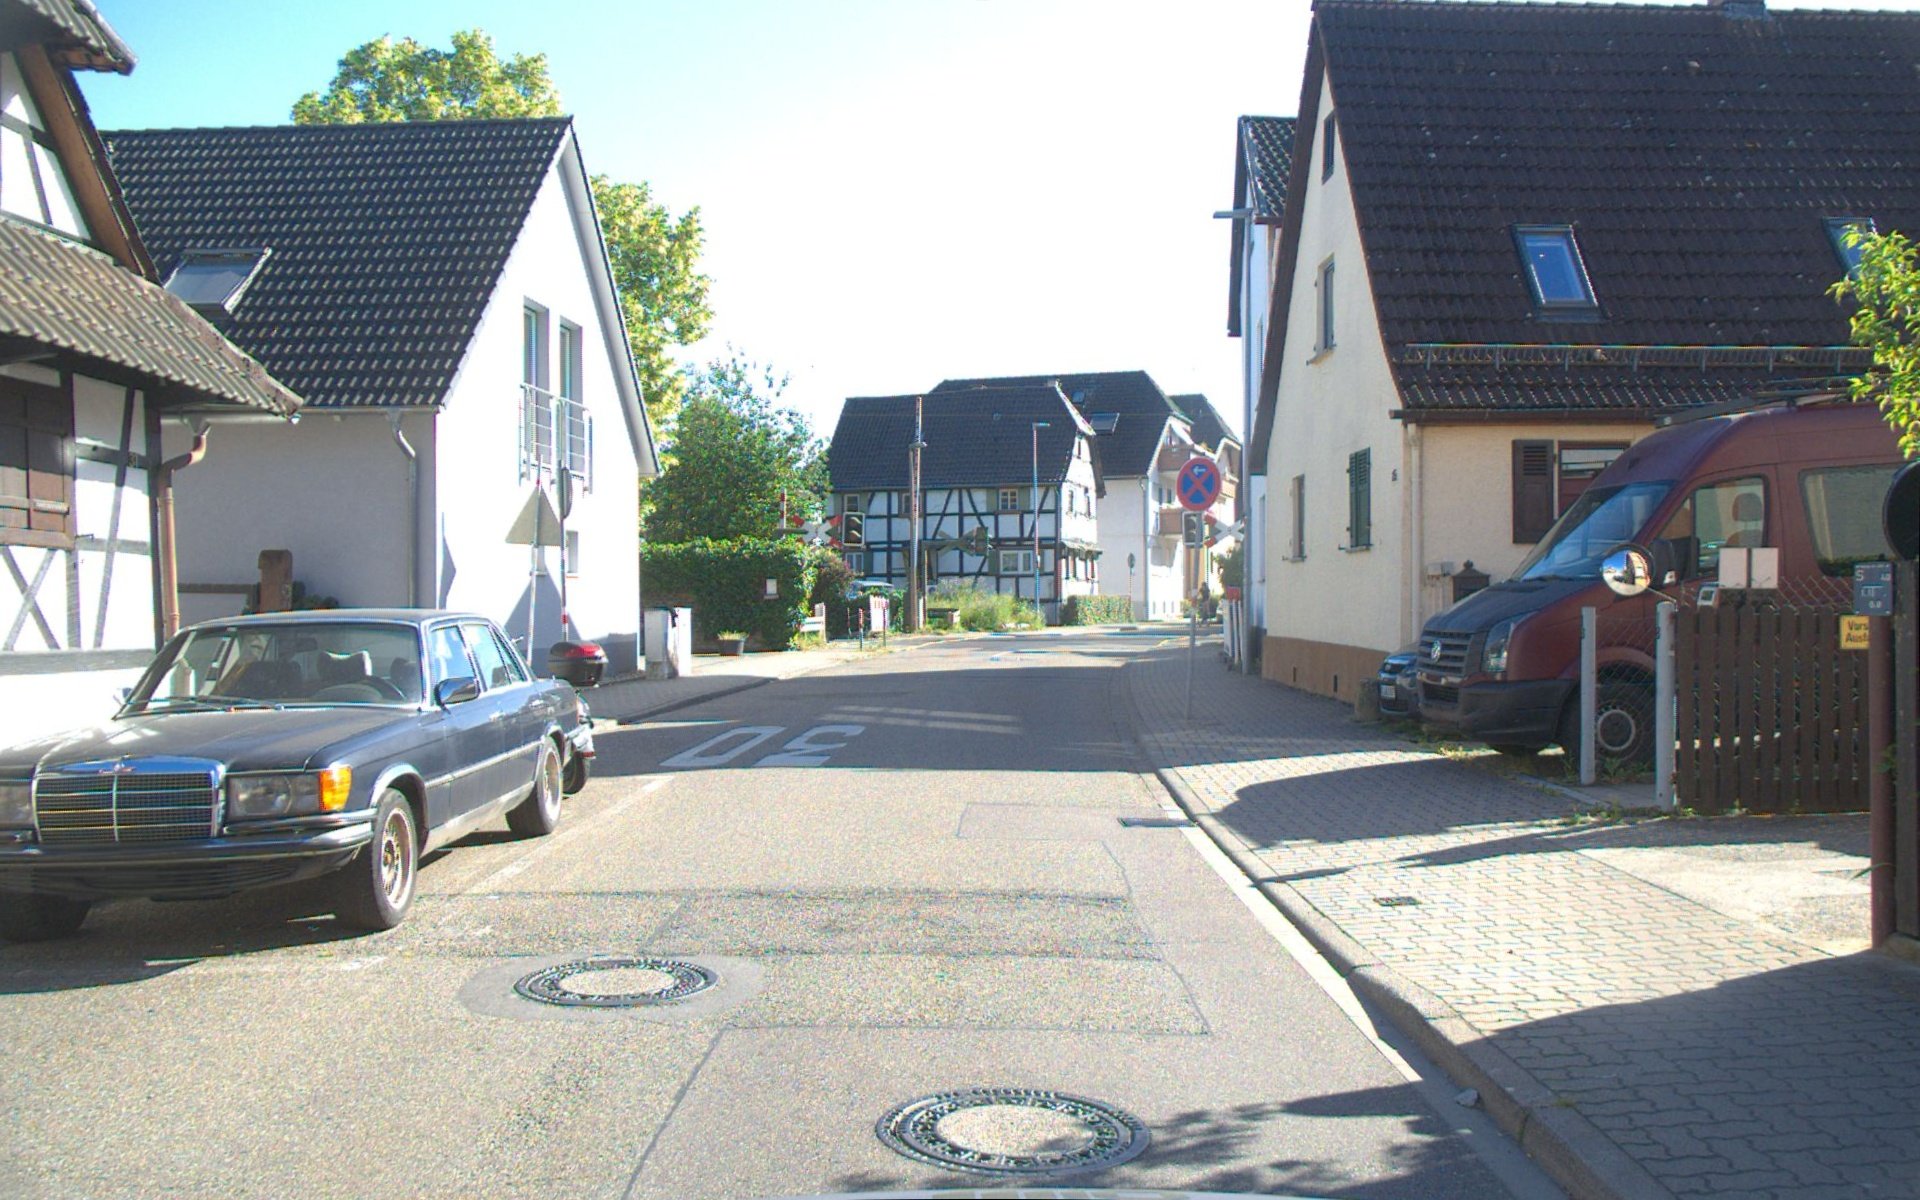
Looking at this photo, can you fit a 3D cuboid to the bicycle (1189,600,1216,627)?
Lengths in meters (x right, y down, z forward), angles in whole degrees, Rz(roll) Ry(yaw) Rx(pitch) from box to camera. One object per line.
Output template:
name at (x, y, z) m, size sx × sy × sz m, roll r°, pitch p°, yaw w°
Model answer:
bicycle at (9.617, 0.532, 65.609) m, size 0.864 × 1.023 × 2.064 m, roll -1°, pitch -1°, yaw 13°

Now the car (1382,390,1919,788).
car at (6.426, -0.128, 12.852) m, size 5.690 × 2.701 × 1.966 m, roll -2°, pitch -1°, yaw -5°

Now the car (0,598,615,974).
car at (-3.317, 0.744, 9.004) m, size 1.807 × 1.431 × 5.036 m, roll -2°, pitch 0°, yaw 0°

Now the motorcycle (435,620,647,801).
motorcycle at (-3.224, 0.795, 12.607) m, size 1.961 × 1.253 × 0.622 m, roll 0°, pitch 1°, yaw 44°

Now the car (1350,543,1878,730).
car at (6.133, 0.334, 15.846) m, size 4.286 × 1.513 × 1.839 m, roll -2°, pitch -1°, yaw -2°

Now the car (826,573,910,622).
car at (-3.249, -0.093, 57.695) m, size 1.661 × 1.591 × 3.971 m, roll 2°, pitch 0°, yaw -23°

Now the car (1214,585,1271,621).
car at (12.994, 0.122, 75.955) m, size 1.598 × 1.532 × 3.851 m, roll -4°, pitch -1°, yaw 24°

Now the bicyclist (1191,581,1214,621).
bicyclist at (9.618, 0.044, 65.584) m, size 0.830 × 1.568 × 0.874 m, roll -1°, pitch -1°, yaw 13°
